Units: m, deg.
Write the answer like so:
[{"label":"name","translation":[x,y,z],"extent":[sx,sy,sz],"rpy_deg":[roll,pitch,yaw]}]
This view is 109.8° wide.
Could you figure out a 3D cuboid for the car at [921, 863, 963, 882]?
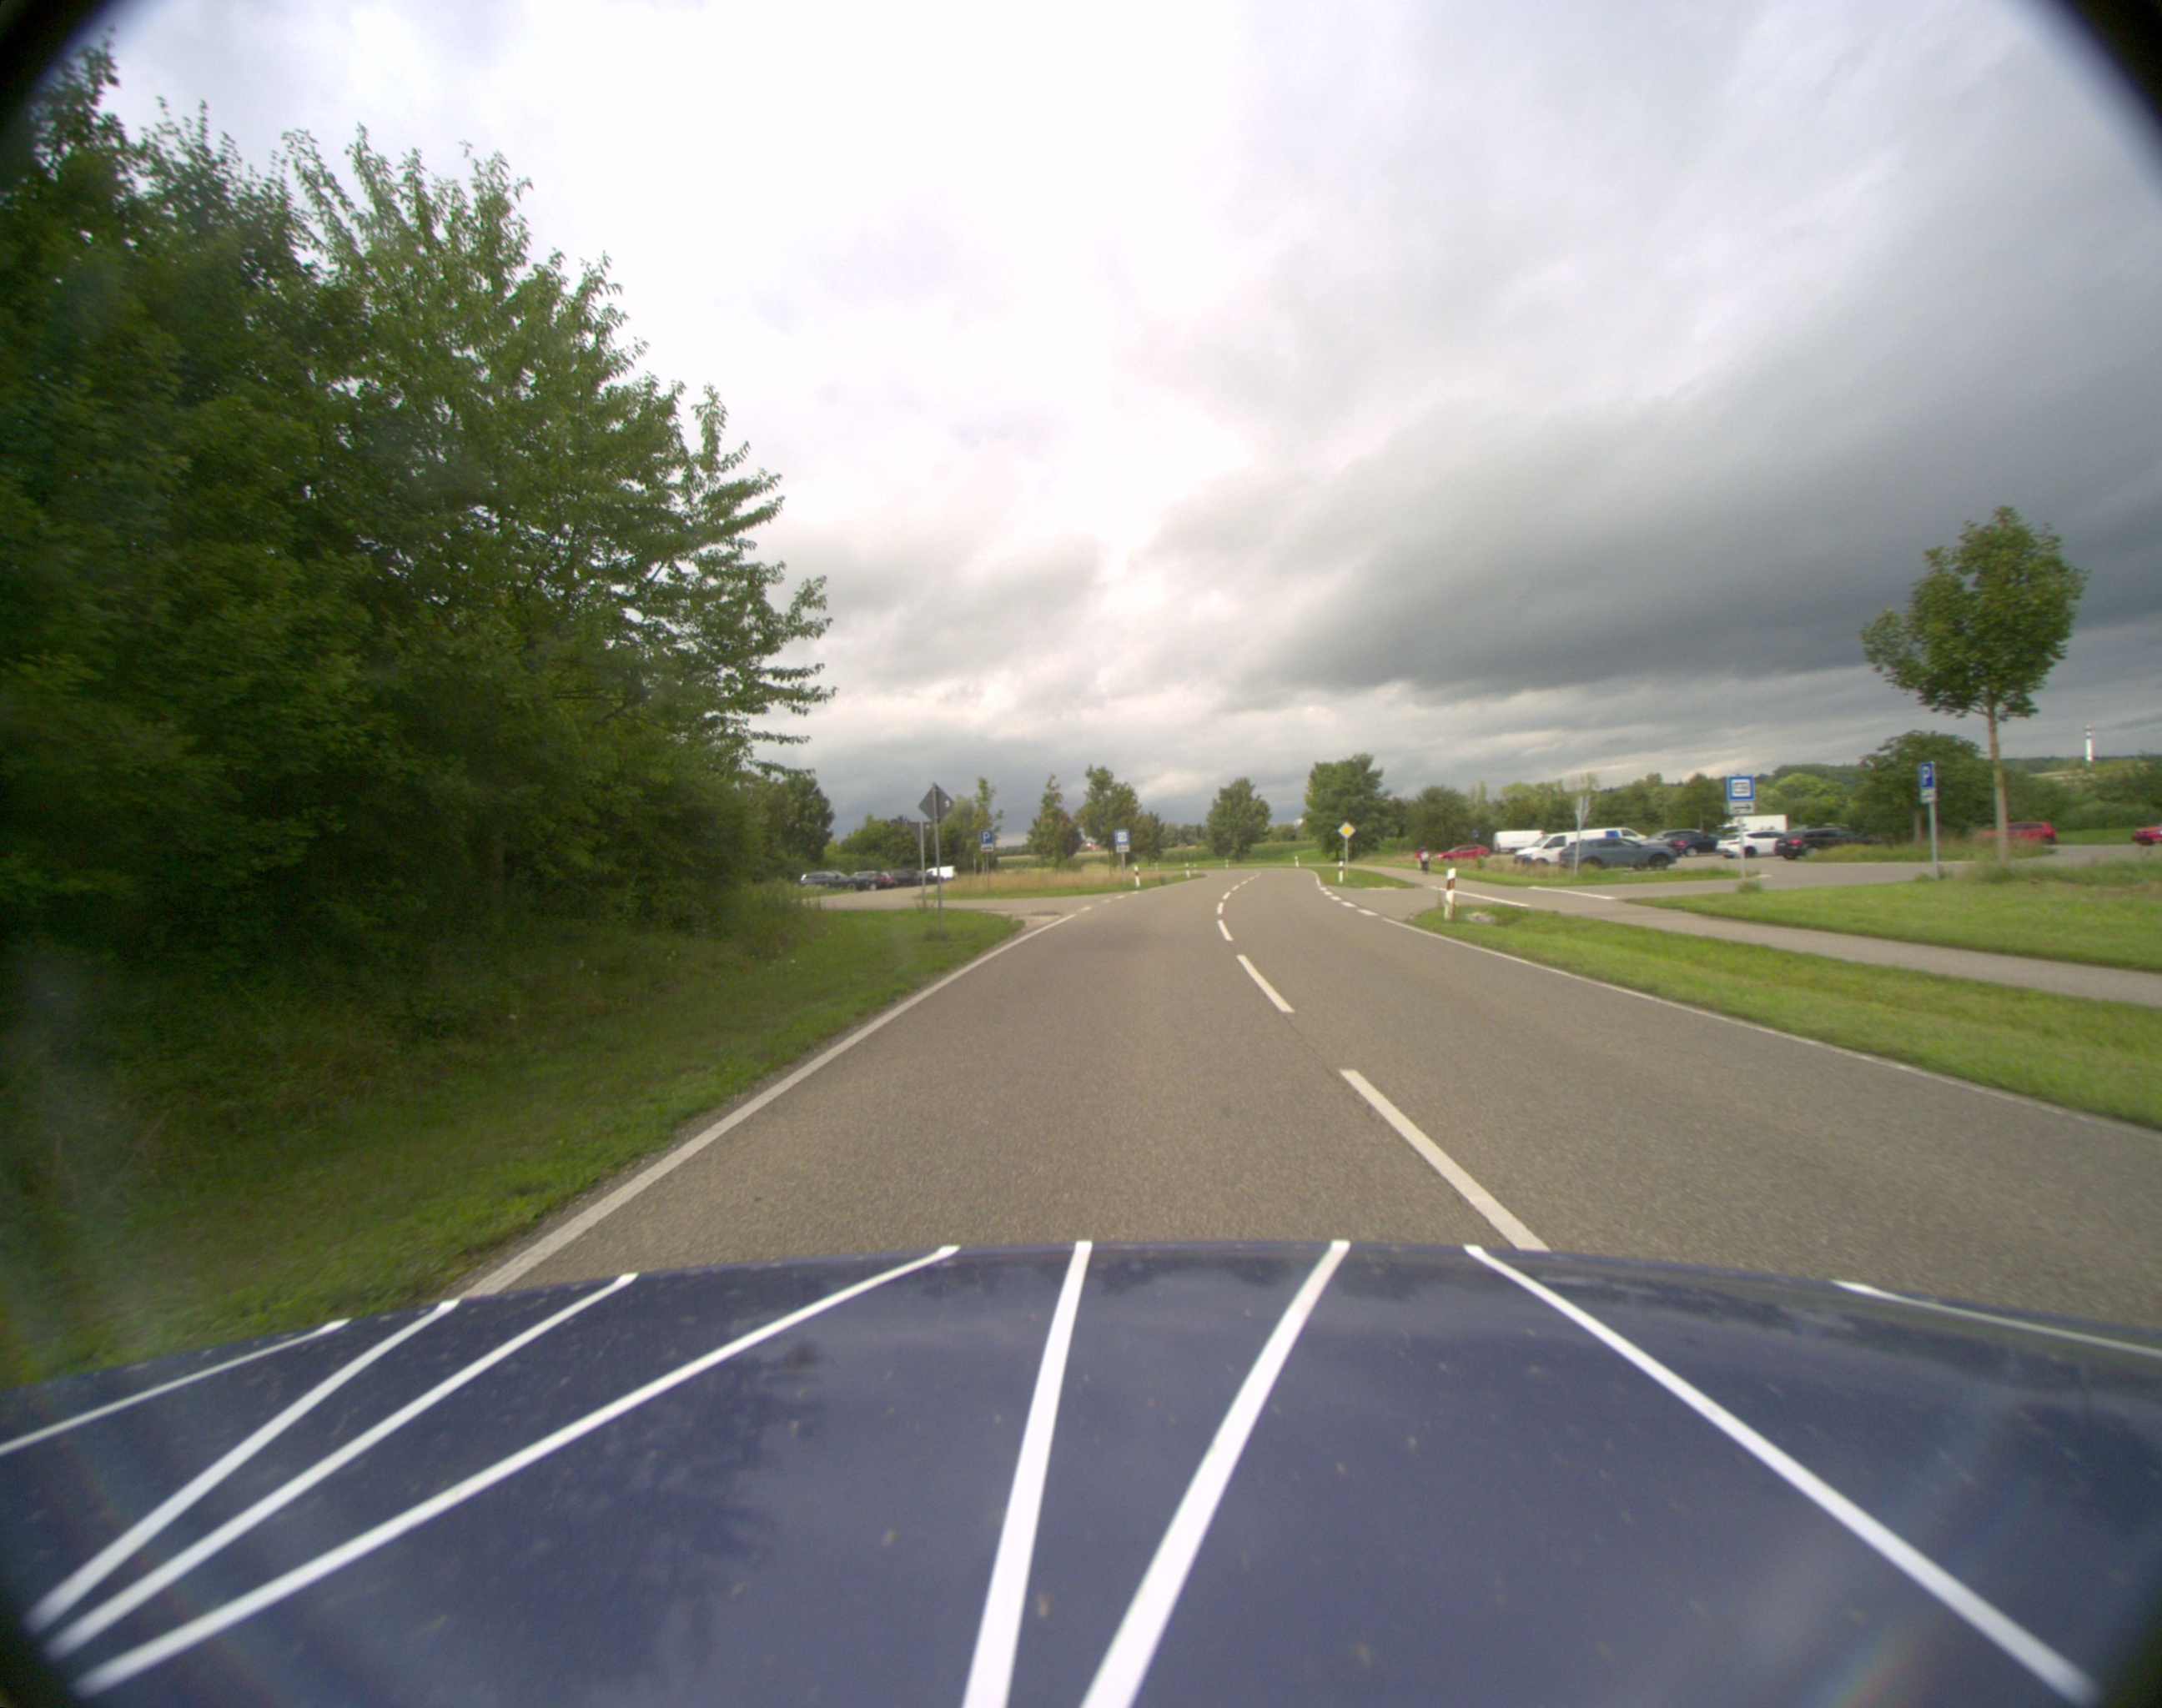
[{"label":"car","translation":[-15.136,1.977,82.879],"extent":[3.996,1.849,2.000],"rpy_deg":[-2,0,2]}]

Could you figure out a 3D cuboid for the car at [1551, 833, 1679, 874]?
[{"label":"car","translation":[24.014,-0.016,34.361],"extent":[4.254,1.585,2.002],"rpy_deg":[-3,0,15]}]

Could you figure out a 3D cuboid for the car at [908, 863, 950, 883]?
[{"label":"car","translation":[-15.945,2.000,79.786],"extent":[3.996,1.849,1.745],"rpy_deg":[-2,0,2]}]

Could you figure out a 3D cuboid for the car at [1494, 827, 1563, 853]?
[{"label":"car","translation":[50.277,-1.589,85.504],"extent":[6.324,2.604,2.203],"rpy_deg":[-3,0,15]}]

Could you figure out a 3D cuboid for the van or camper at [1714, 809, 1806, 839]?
[{"label":"van or camper","translation":[64.673,-2.825,72.449],"extent":[6.038,2.333,2.288],"rpy_deg":[-4,0,17]}]

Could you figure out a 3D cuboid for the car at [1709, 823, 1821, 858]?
[{"label":"car","translation":[36.826,-0.714,40.997],"extent":[3.995,1.543,1.967],"rpy_deg":[-4,0,8]}]

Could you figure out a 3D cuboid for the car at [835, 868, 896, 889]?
[{"label":"car","translation":[-16.676,1.864,58.915],"extent":[4.163,1.406,2.000],"rpy_deg":[-2,0,-2]}]

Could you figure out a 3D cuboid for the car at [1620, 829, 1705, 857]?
[{"label":"car","translation":[38.886,-0.744,50.939],"extent":[3.993,1.543,1.968],"rpy_deg":[-4,0,15]}]

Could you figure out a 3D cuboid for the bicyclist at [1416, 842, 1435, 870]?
[{"label":"bicyclist","translation":[19.418,0.102,42.841],"extent":[0.832,1.556,1.057],"rpy_deg":[-3,0,19]}]

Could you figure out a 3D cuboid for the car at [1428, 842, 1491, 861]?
[{"label":"car","translation":[31.457,-0.195,63.289],"extent":[4.370,1.408,1.815],"rpy_deg":[-3,0,15]}]

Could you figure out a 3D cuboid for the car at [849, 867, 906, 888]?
[{"label":"car","translation":[-16.710,1.931,62.438],"extent":[4.006,1.496,2.052],"rpy_deg":[-2,0,4]}]

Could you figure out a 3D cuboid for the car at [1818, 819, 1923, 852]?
[{"label":"car","translation":[42.004,-0.956,40.521],"extent":[1.780,1.517,3.784],"rpy_deg":[-3,0,-44]}]

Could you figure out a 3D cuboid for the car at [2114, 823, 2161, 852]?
[{"label":"car","translation":[52.967,-0.847,36.264],"extent":[3.990,1.379,1.742],"rpy_deg":[-2,0,29]}]

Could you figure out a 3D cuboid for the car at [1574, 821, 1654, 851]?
[{"label":"car","translation":[42.123,-1.394,60.175],"extent":[4.689,1.914,2.063],"rpy_deg":[-4,0,13]}]

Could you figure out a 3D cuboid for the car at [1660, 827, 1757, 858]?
[{"label":"car","translation":[37.860,-0.681,45.962],"extent":[3.993,1.543,1.968],"rpy_deg":[-4,0,15]}]

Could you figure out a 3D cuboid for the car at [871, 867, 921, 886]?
[{"label":"car","translation":[-16.561,2.032,68.317],"extent":[3.998,1.488,2.000],"rpy_deg":[-2,0,-2]}]

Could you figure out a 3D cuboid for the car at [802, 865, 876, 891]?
[{"label":"car","translation":[-16.787,1.676,52.947],"extent":[4.490,1.572,2.000],"rpy_deg":[-2,0,-2]}]

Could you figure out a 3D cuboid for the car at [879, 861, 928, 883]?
[{"label":"car","translation":[-16.568,1.703,71.211],"extent":[3.996,1.849,2.000],"rpy_deg":[-2,0,2]}]

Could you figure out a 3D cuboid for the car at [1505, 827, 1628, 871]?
[{"label":"car","translation":[24.939,-0.228,39.255],"extent":[4.901,2.002,2.058],"rpy_deg":[-3,0,14]}]

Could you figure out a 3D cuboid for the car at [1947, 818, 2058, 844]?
[{"label":"car","translation":[55.953,-1.354,46.224],"extent":[3.992,1.379,1.741],"rpy_deg":[-2,0,17]}]

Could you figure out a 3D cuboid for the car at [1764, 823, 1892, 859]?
[{"label":"car","translation":[35.541,-0.593,36.259],"extent":[3.995,1.379,1.843],"rpy_deg":[-4,0,8]}]

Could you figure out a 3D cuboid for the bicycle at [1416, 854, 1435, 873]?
[{"label":"bicycle","translation":[19.390,0.512,42.802],"extent":[0.636,1.026,2.193],"rpy_deg":[-2,0,17]}]
